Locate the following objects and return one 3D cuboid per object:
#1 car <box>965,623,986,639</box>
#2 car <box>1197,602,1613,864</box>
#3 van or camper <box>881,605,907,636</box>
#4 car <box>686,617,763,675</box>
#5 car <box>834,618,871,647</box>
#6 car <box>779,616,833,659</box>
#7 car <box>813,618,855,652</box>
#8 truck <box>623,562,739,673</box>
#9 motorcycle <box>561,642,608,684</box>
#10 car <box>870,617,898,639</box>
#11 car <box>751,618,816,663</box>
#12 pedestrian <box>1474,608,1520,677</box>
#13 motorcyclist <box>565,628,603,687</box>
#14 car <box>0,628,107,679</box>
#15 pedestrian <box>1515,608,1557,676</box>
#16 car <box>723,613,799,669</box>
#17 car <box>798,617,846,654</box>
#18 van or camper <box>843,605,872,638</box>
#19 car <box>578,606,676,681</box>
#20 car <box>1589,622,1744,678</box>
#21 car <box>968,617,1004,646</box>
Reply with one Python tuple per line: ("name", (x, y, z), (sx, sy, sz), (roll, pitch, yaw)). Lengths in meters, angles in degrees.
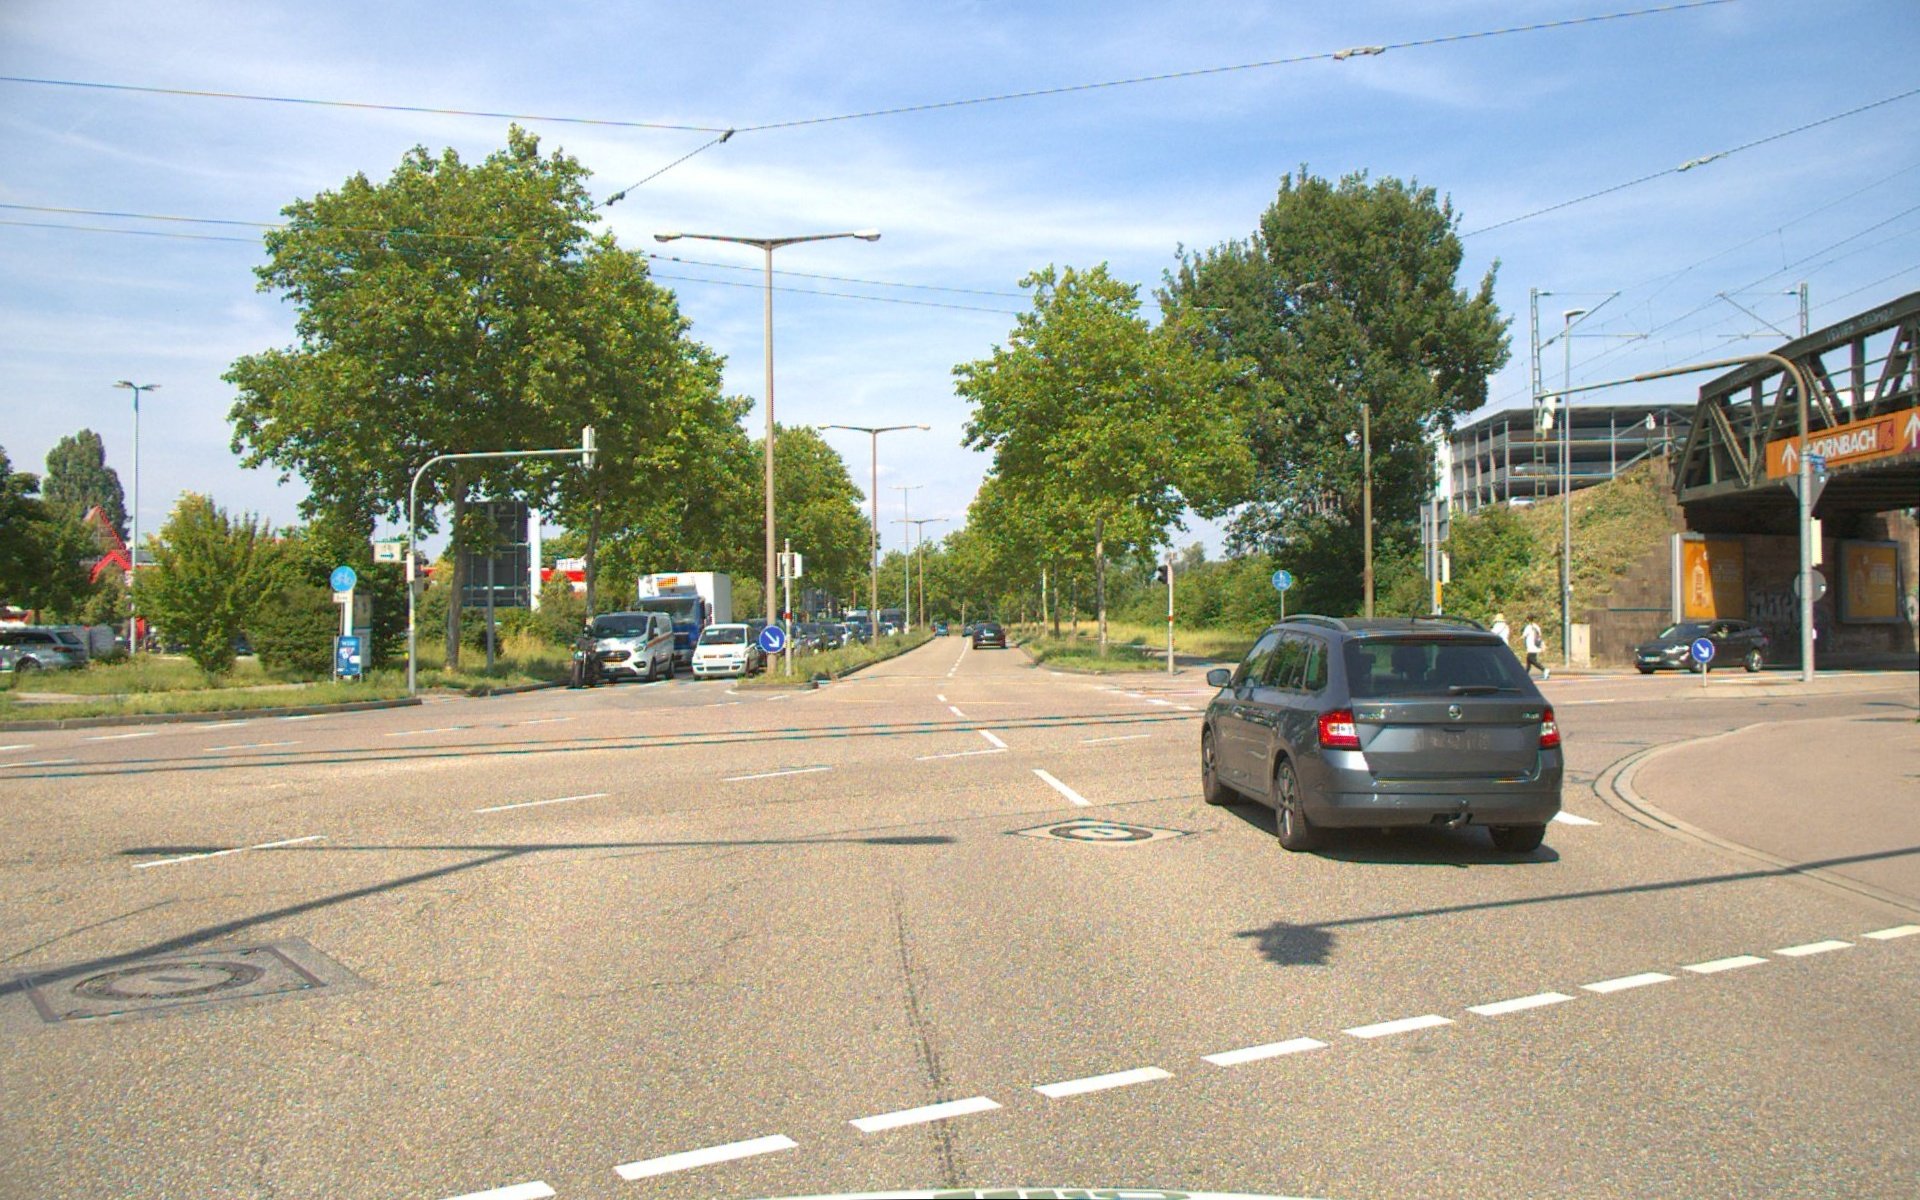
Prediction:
("car", (1.503, 3.053, 163.835), (1.870, 1.489, 4.580), (0, 0, -3))
("car", (2.841, 0.776, 11.484), (1.641, 1.479, 4.033), (1, 0, -3))
("van or camper", (-5.366, 1.680, 135.095), (1.899, 2.410, 5.396), (-2, -1, -1))
("car", (-6.614, 1.262, 46.813), (1.560, 1.503, 3.729), (-2, 0, 1))
("car", (-5.966, 1.793, 91.945), (1.748, 1.515, 4.210), (-2, 0, -1))
("car", (-6.137, 1.470, 66.241), (1.654, 1.614, 4.240), (-2, 0, 1))
("car", (-6.027, 1.655, 79.249), (1.654, 1.497, 3.814), (-2, 0, 1))
("truck", (-9.651, 0.581, 57.995), (2.746, 3.532, 6.691), (-2, 0, 0))
("motorcycle", (-9.656, 1.597, 42.567), (0.674, 1.009, 2.217), (0, 0, 1))
("car", (-5.492, 2.015, 119.570), (1.747, 1.484, 4.472), (-1, 0, 1))
("car", (-6.316, 1.445, 59.693), (1.760, 1.493, 4.523), (-2, 0, 1))
("pedestrian", (12.940, 1.009, 39.881), (0.850, 1.640, 0.777), (0, -1, 0))
("motorcyclist", (-9.688, 1.476, 42.663), (0.728, 1.496, 0.987), (0, -1, 0))
("car", (-28.228, 1.584, 49.293), (4.475, 1.439, 2.197), (0, -1, -7))
("pedestrian", (13.820, 1.003, 39.686), (0.714, 1.607, 0.777), (0, -1, 0))
("car", (-6.299, 1.311, 52.799), (1.782, 1.675, 4.693), (-2, -2, 1))
("car", (-6.109, 1.566, 73.614), (1.654, 1.499, 4.218), (-3, 0, 1))
("van or camper", (-8.693, 1.820, 140.323), (1.974, 2.633, 5.517), (-2, 0, 1))
("car", (-9.494, 1.200, 47.592), (1.936, 2.034, 5.029), (0, 0, -2))
("car", (19.627, 1.343, 45.881), (4.451, 1.433, 1.975), (0, -1, -36))
("car", (1.383, 1.681, 89.944), (1.869, 1.489, 4.621), (0, 0, 0))
